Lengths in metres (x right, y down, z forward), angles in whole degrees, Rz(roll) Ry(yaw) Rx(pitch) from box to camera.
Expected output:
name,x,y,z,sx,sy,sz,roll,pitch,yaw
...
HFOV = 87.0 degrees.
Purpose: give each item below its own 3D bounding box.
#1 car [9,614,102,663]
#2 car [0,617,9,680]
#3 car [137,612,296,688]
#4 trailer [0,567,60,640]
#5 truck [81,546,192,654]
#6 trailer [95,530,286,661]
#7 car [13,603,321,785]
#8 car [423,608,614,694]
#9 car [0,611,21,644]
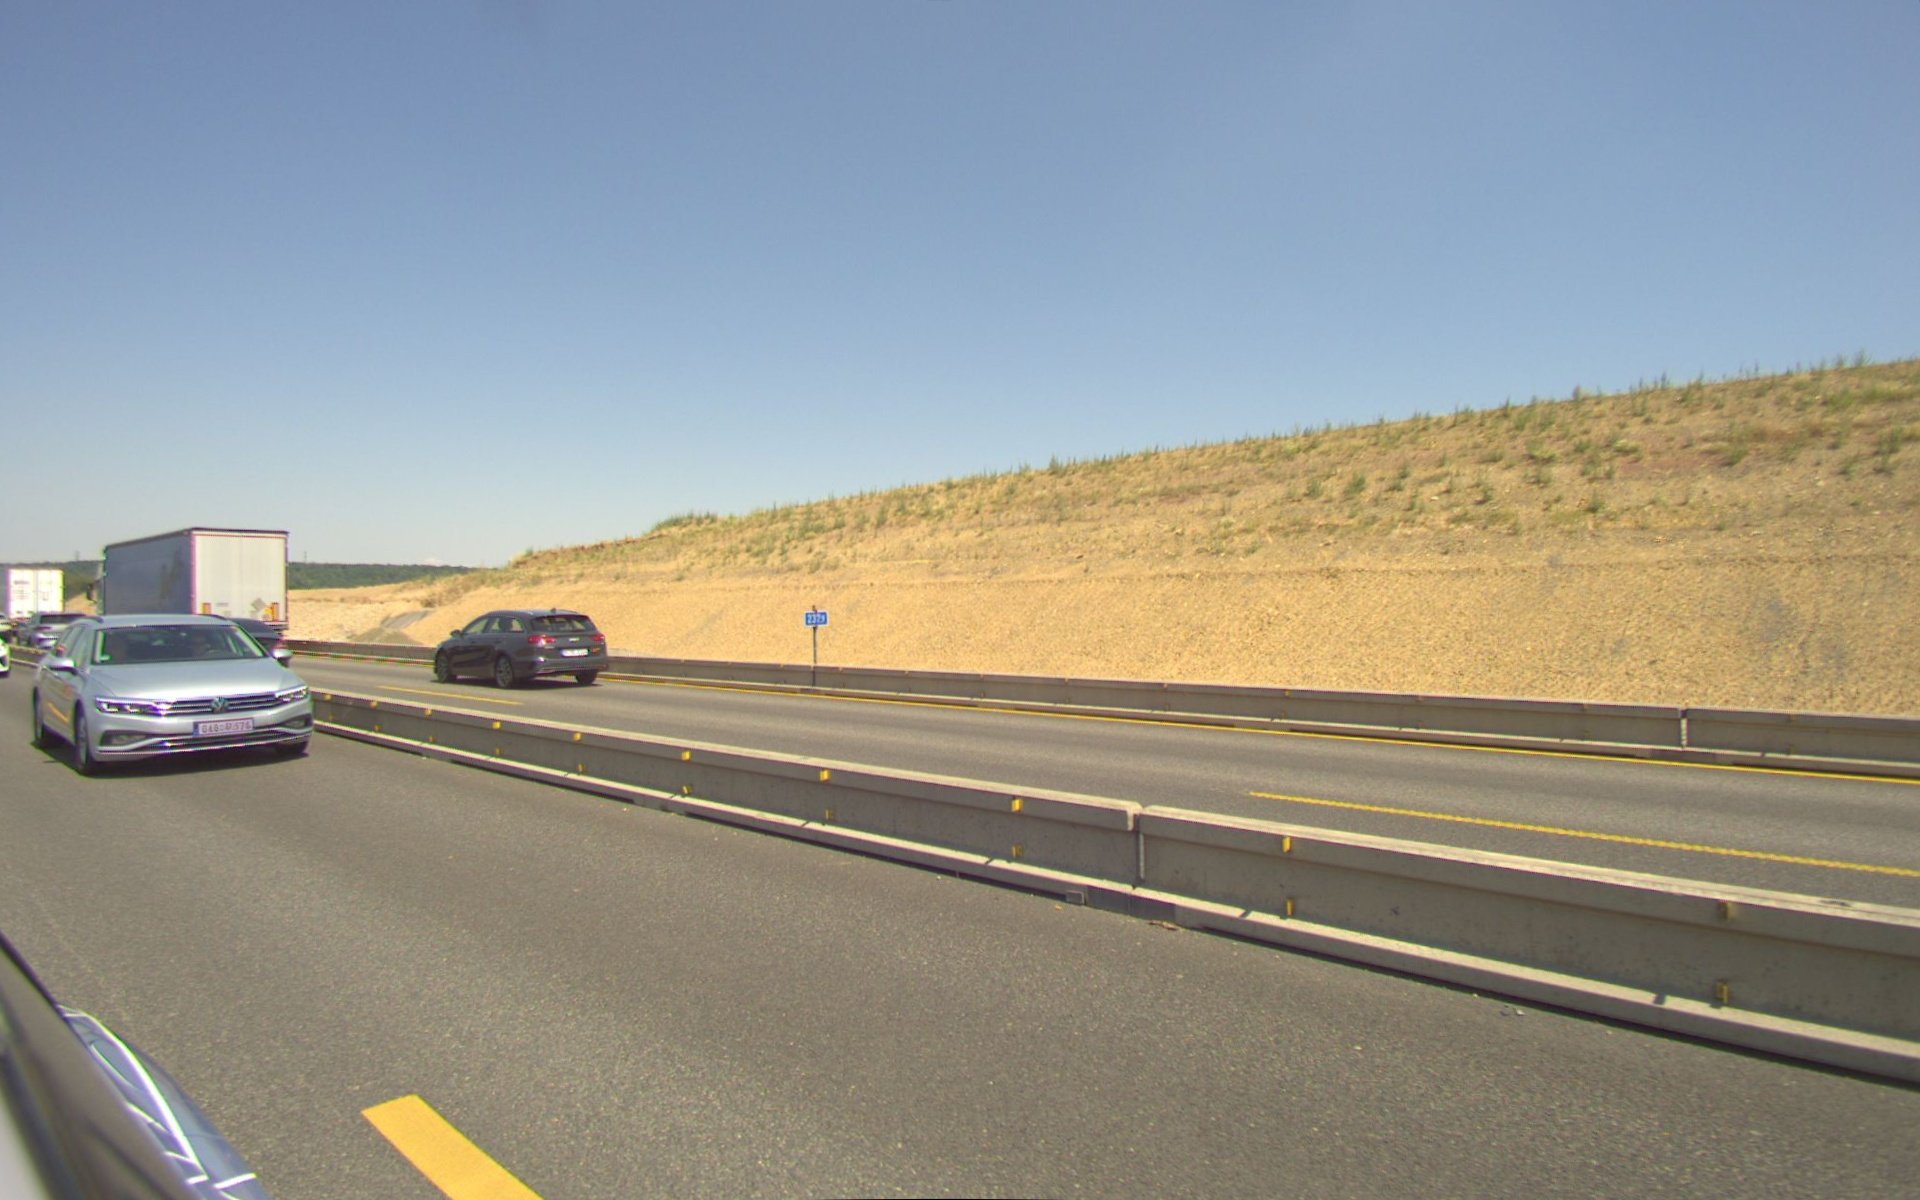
name,x,y,z,sx,sy,sz,roll,pitch,yaw
car,-30.844,1.287,34.466,4.136,1.567,1.757,-1,-2,40
car,-23.929,1.126,23.854,4.029,1.408,1.851,0,1,42
car,-16.275,1.001,22.054,4.857,1.397,1.711,0,1,40
trailer,-60.136,0.282,64.316,15.527,4.211,2.476,-1,-2,42
truck,-33.338,0.001,40.925,5.145,4.084,2.566,-1,0,40
trailer,-27.805,-0.087,36.107,13.988,3.968,2.626,-1,0,41
car,-8.431,0.830,10.631,4.098,1.519,1.781,-1,0,41
car,-8.702,0.918,19.782,4.498,1.435,1.614,0,1,40
car,-47.521,1.343,49.533,4.240,1.499,1.789,0,1,40
